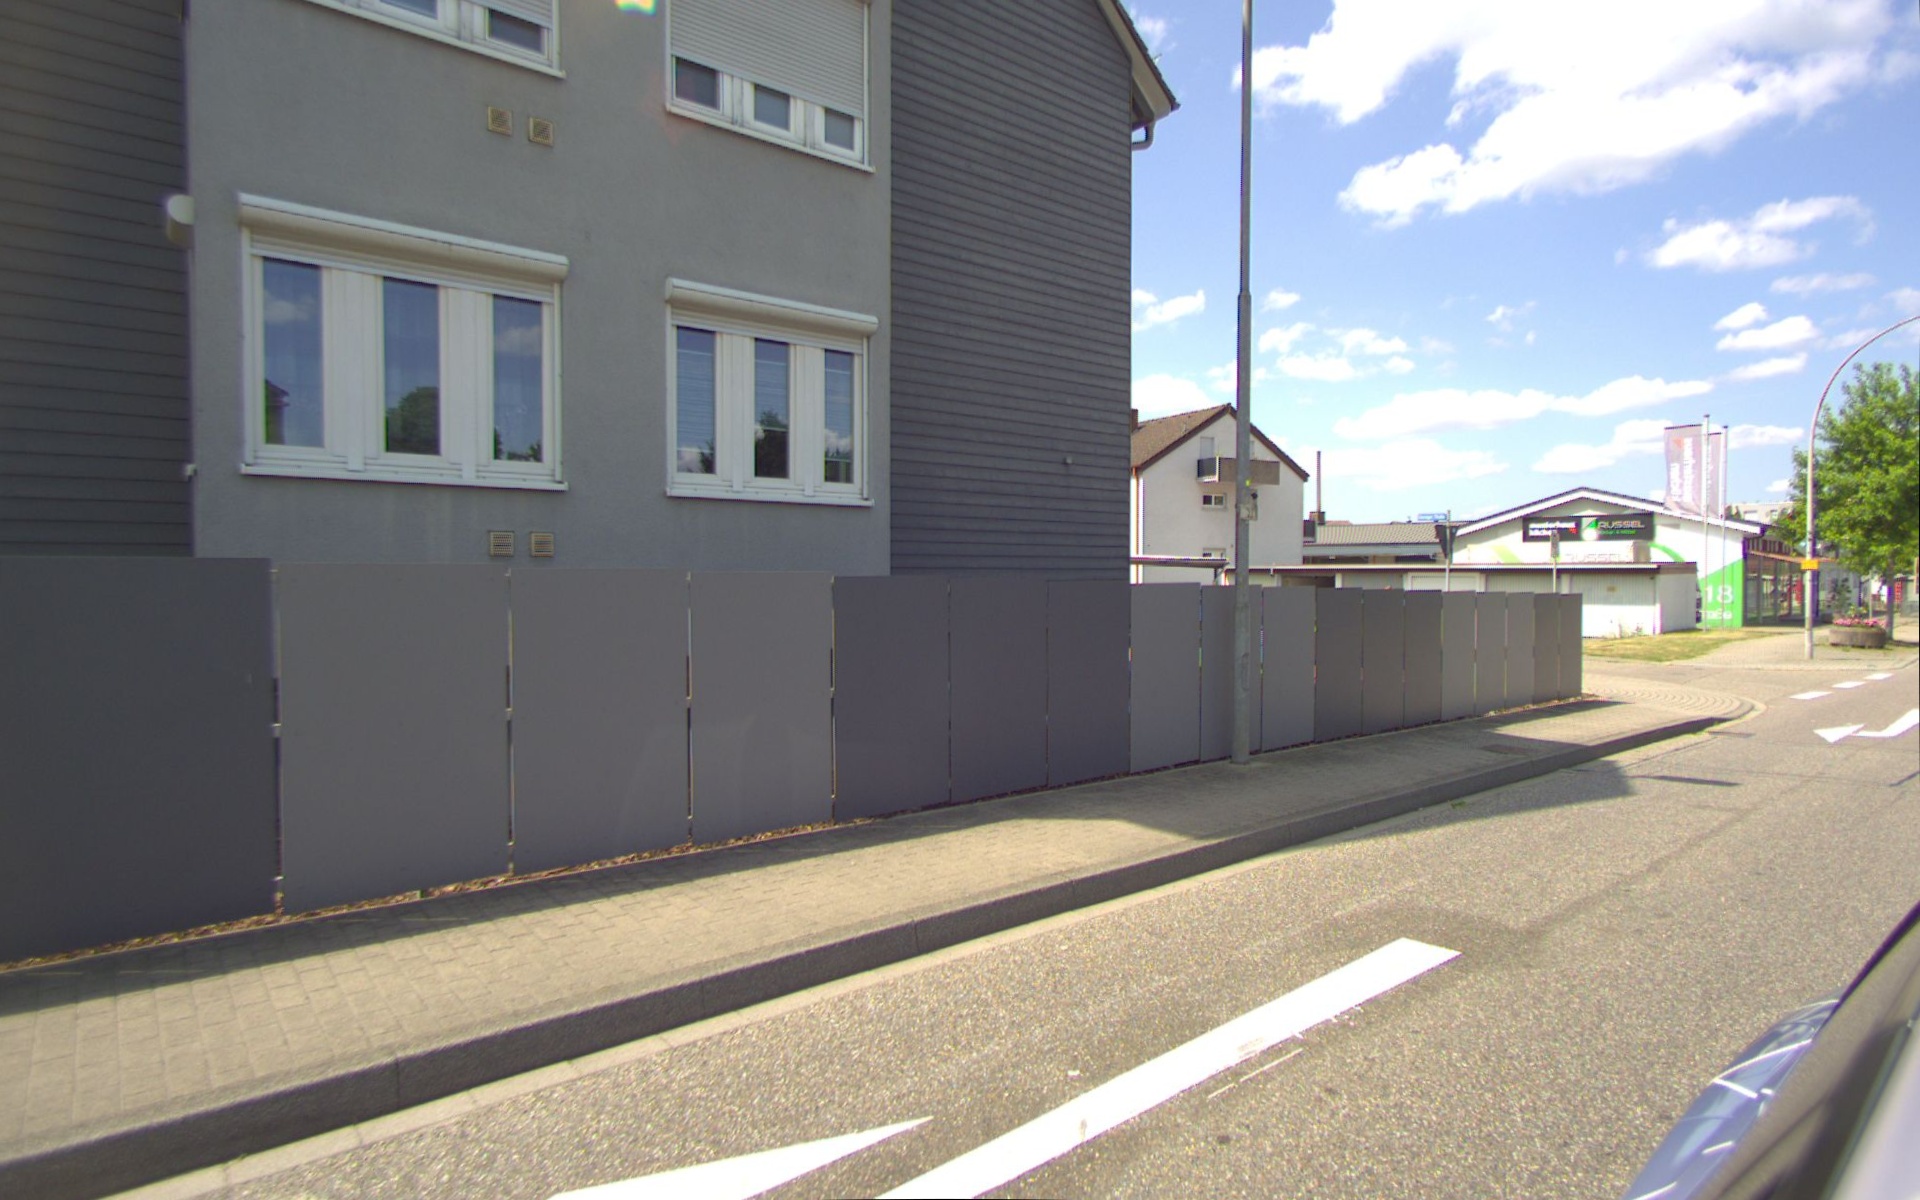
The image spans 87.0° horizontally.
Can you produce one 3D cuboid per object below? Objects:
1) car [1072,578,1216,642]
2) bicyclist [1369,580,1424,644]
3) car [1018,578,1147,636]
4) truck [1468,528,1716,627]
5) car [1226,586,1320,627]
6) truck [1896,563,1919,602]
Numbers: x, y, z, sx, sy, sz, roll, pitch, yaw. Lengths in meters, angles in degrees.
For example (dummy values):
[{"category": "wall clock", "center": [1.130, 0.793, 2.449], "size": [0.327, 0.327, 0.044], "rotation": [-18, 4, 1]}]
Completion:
[{"category": "car", "center": [5.289, 0.285, 28.793], "size": [4.139, 1.669, 1.741], "rotation": [2, 0, -40]}, {"category": "bicyclist", "center": [11.616, 0.306, 26.928], "size": [0.792, 1.650, 1.109], "rotation": [-1, 1, -42]}, {"category": "car", "center": [3.744, 0.228, 30.737], "size": [3.784, 1.607, 1.741], "rotation": [2, 0, -40]}, {"category": "truck", "center": [25.469, -0.897, 41.202], "size": [2.633, 3.617, 8.180], "rotation": [-2, 2, -42]}, {"category": "car", "center": [12.396, 0.205, 39.939], "size": [4.060, 1.522, 1.678], "rotation": [-1, 1, -41]}, {"category": "truck", "center": [72.512, -1.329, 76.279], "size": [2.571, 2.795, 6.240], "rotation": [3, 3, 41]}]
